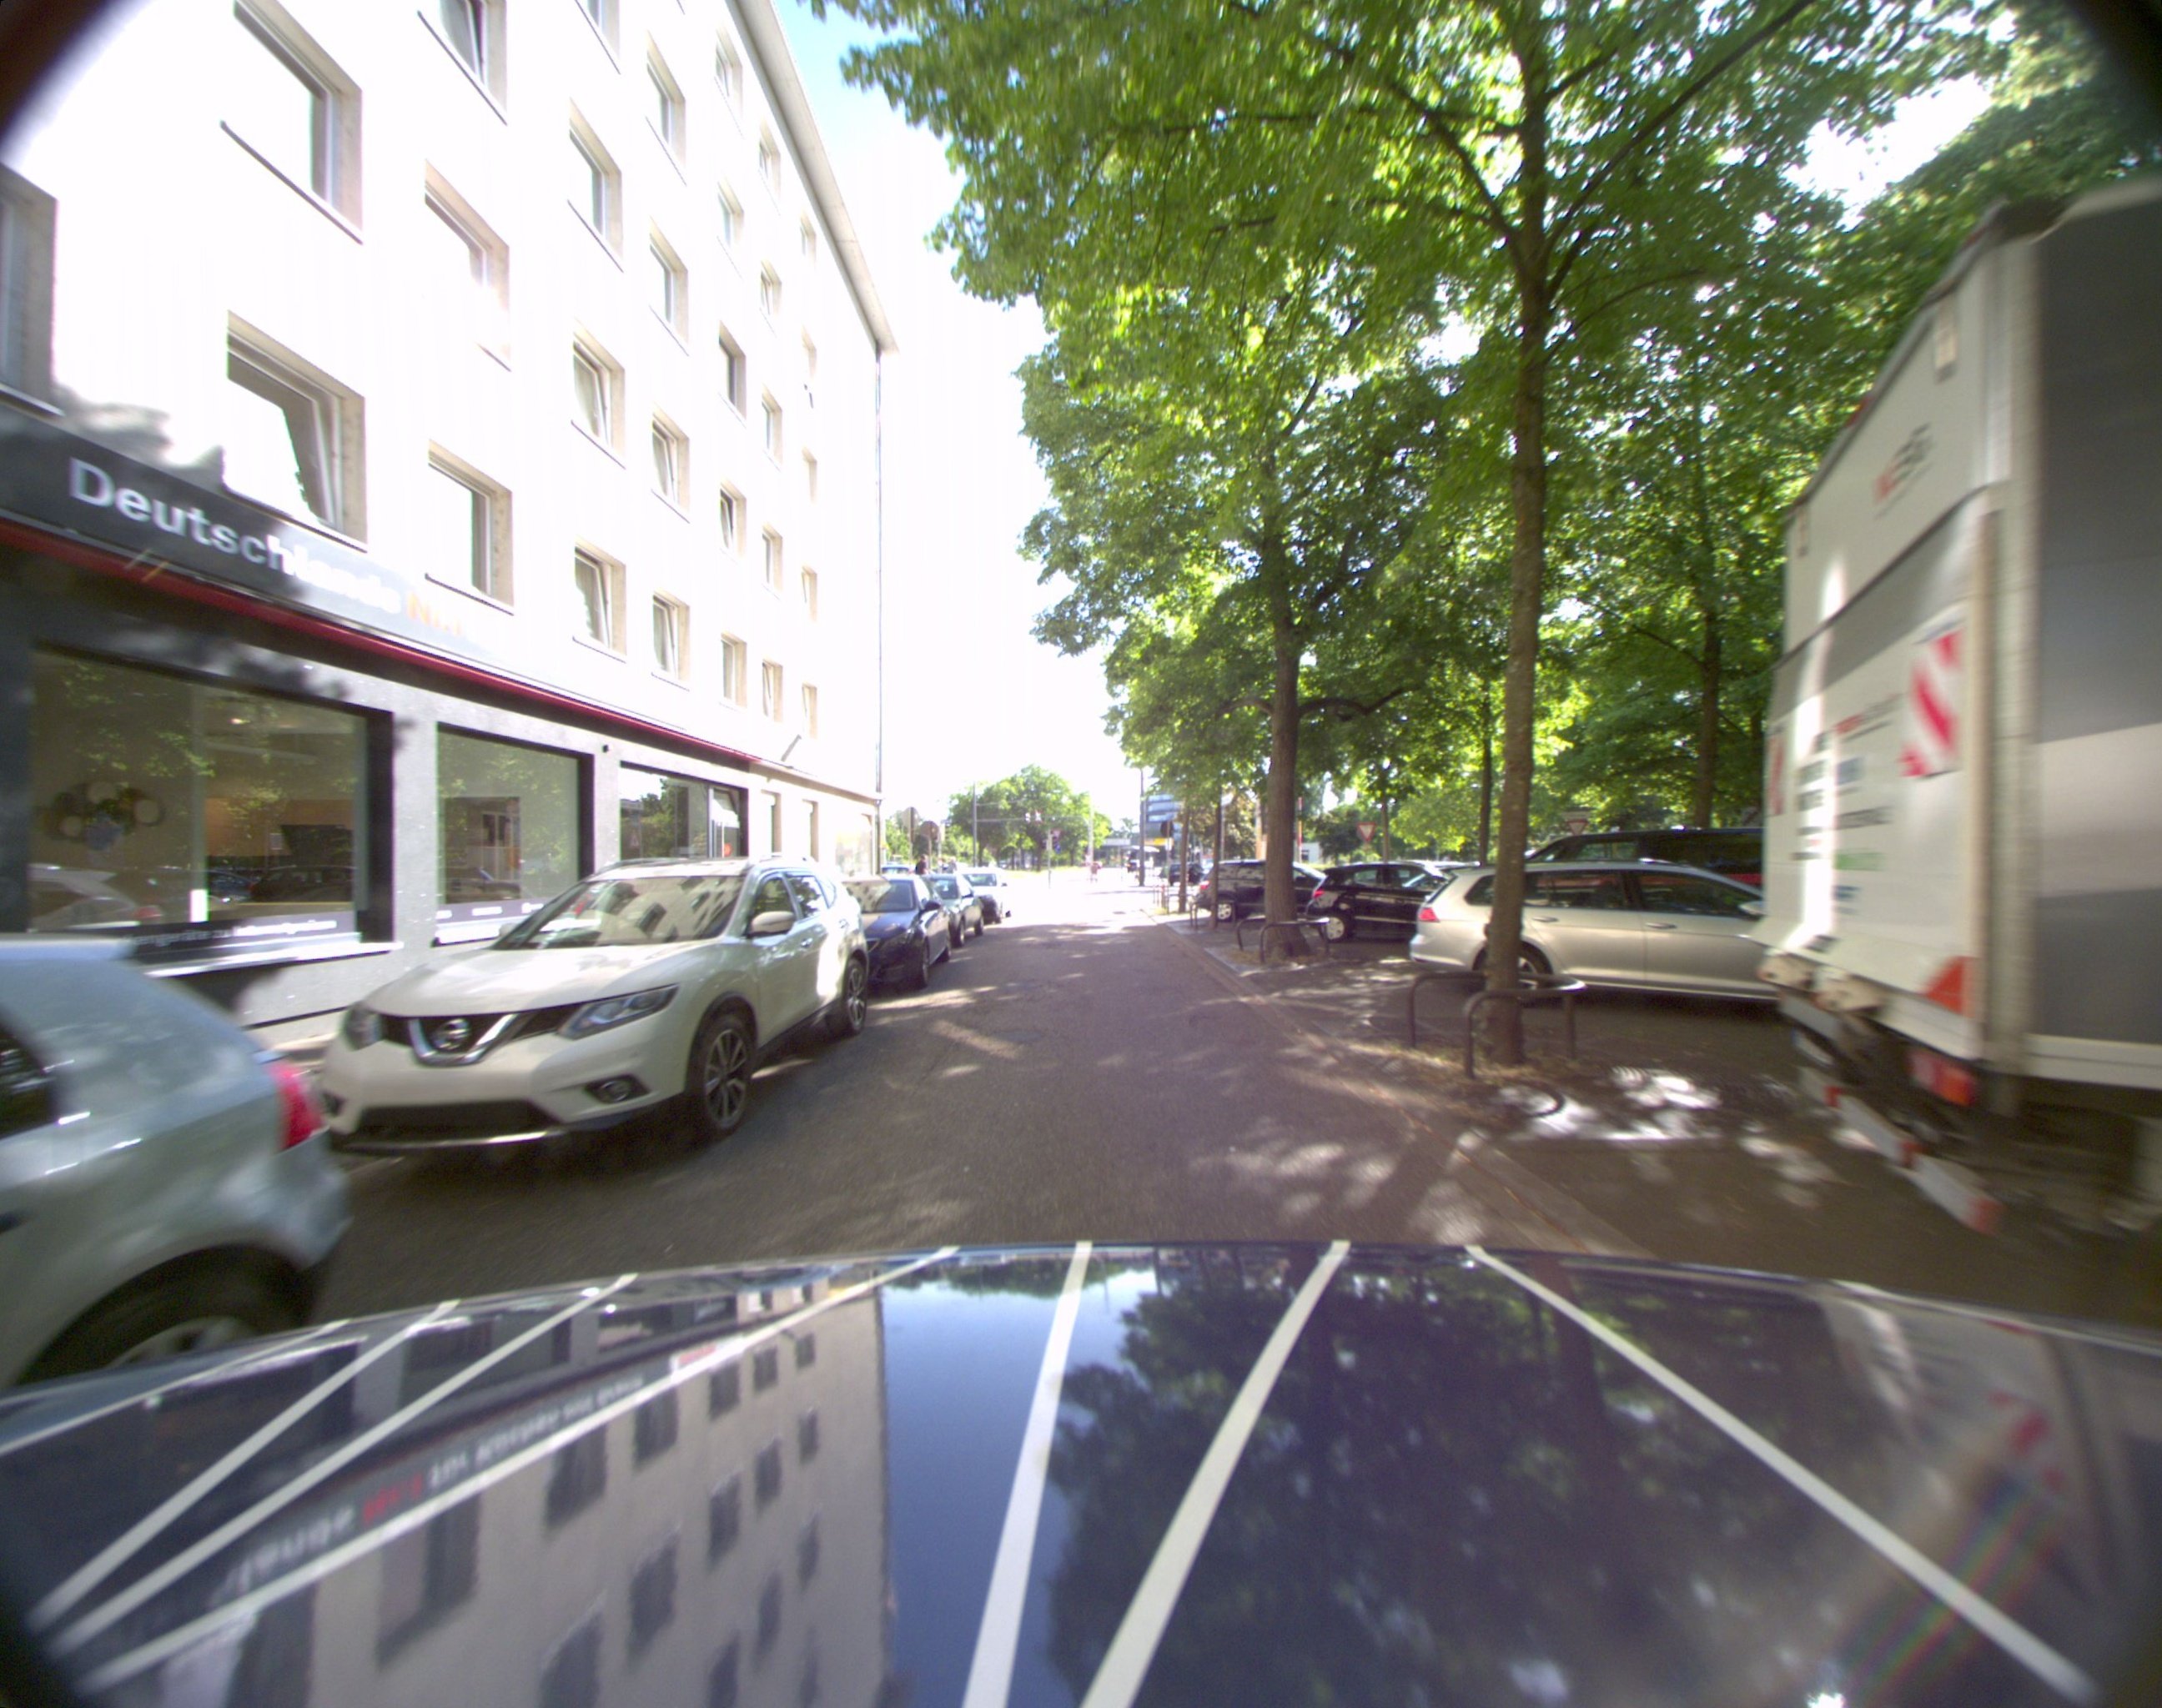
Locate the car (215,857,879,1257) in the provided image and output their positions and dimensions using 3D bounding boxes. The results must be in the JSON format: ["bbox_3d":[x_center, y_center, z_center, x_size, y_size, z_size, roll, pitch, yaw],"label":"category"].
[{"bbox_3d":[-2.943,0.901,5.603,1.766,1.743,4.509,0,0,-1],"label":"car"}]

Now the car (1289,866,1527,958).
[{"bbox_3d":[5.984,0.964,14.006,3.813,1.472,1.765,0,0,29],"label":"car"}]

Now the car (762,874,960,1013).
[{"bbox_3d":[-2.855,1.073,10.873,1.807,1.454,4.439,0,0,-4],"label":"car"}]

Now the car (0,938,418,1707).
[{"bbox_3d":[-2.950,1.002,0.237,1.766,1.491,4.238,0,0,0],"label":"car"}]

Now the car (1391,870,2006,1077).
[{"bbox_3d":[5.601,0.928,7.619,4.331,1.498,1.817,-1,0,34],"label":"car"}]

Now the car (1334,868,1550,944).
[{"bbox_3d":[7.545,1.028,16.160,3.939,1.413,1.825,0,0,25],"label":"car"}]

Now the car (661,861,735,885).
[{"bbox_3d":[-24.022,1.170,47.841,1.871,1.447,4.488,0,0,9],"label":"car"}]

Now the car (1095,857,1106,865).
[{"bbox_3d":[3.723,1.303,142.668,1.998,1.543,4.486,0,0,2],"label":"car"}]

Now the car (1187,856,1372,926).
[{"bbox_3d":[5.188,0.968,19.978,4.326,1.661,1.841,-3,-1,30],"label":"car"}]

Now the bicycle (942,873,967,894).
[{"bbox_3d":[-6.296,1.468,37.772,0.830,0.980,1.943,0,0,-21],"label":"bicycle"}]

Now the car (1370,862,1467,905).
[{"bbox_3d":[12.922,1.075,29.411,1.907,1.509,4.301,0,0,1],"label":"car"}]

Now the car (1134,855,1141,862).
[{"bbox_3d":[16.412,1.203,220.037,1.998,2.002,4.001,0,0,2],"label":"car"}]

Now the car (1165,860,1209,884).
[{"bbox_3d":[7.056,1.184,50.407,1.680,1.499,3.603,-2,-1,29],"label":"car"}]

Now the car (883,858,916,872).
[{"bbox_3d":[-19.588,1.196,82.047,1.871,1.447,4.488,0,0,9],"label":"car"}]

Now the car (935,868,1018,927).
[{"bbox_3d":[-2.883,1.163,21.743,1.723,1.488,4.023,0,0,2],"label":"car"}]

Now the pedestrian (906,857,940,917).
[{"bbox_3d":[-4.622,0.951,22.229,0.760,1.712,0.746,0,0,6],"label":"pedestrian"}]

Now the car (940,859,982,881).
[{"bbox_3d":[-8.509,1.099,54.389,1.922,1.509,5.039,0,0,4],"label":"car"}]

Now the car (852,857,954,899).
[{"bbox_3d":[-8.012,1.035,34.117,4.472,1.765,1.878,0,0,32],"label":"car"}]

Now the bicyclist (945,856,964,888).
[{"bbox_3d":[-6.264,0.880,37.728,0.829,1.555,0.595,0,0,-21],"label":"bicyclist"}]

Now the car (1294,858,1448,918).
[{"bbox_3d":[8.349,0.933,22.044,3.990,1.601,1.926,0,0,21],"label":"car"}]

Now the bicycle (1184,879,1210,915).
[{"bbox_3d":[3.761,1.384,24.771,0.354,1.066,1.591,0,0,-10],"label":"bicycle"}]

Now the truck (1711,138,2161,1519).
[{"bbox_3d":[5.937,-0.049,1.209,7.305,3.274,2.552,0,0,32],"label":"truck"}]

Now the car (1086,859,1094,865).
[{"bbox_3d":[2.420,2.174,208.093,1.999,1.652,4.484,0,0,-2],"label":"car"}]

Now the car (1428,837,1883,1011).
[{"bbox_3d":[7.280,0.769,10.200,4.490,1.862,1.940,-1,0,34],"label":"car"}]

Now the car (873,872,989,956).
[{"bbox_3d":[-2.987,1.152,15.841,1.600,1.454,3.673,0,0,1],"label":"car"}]
